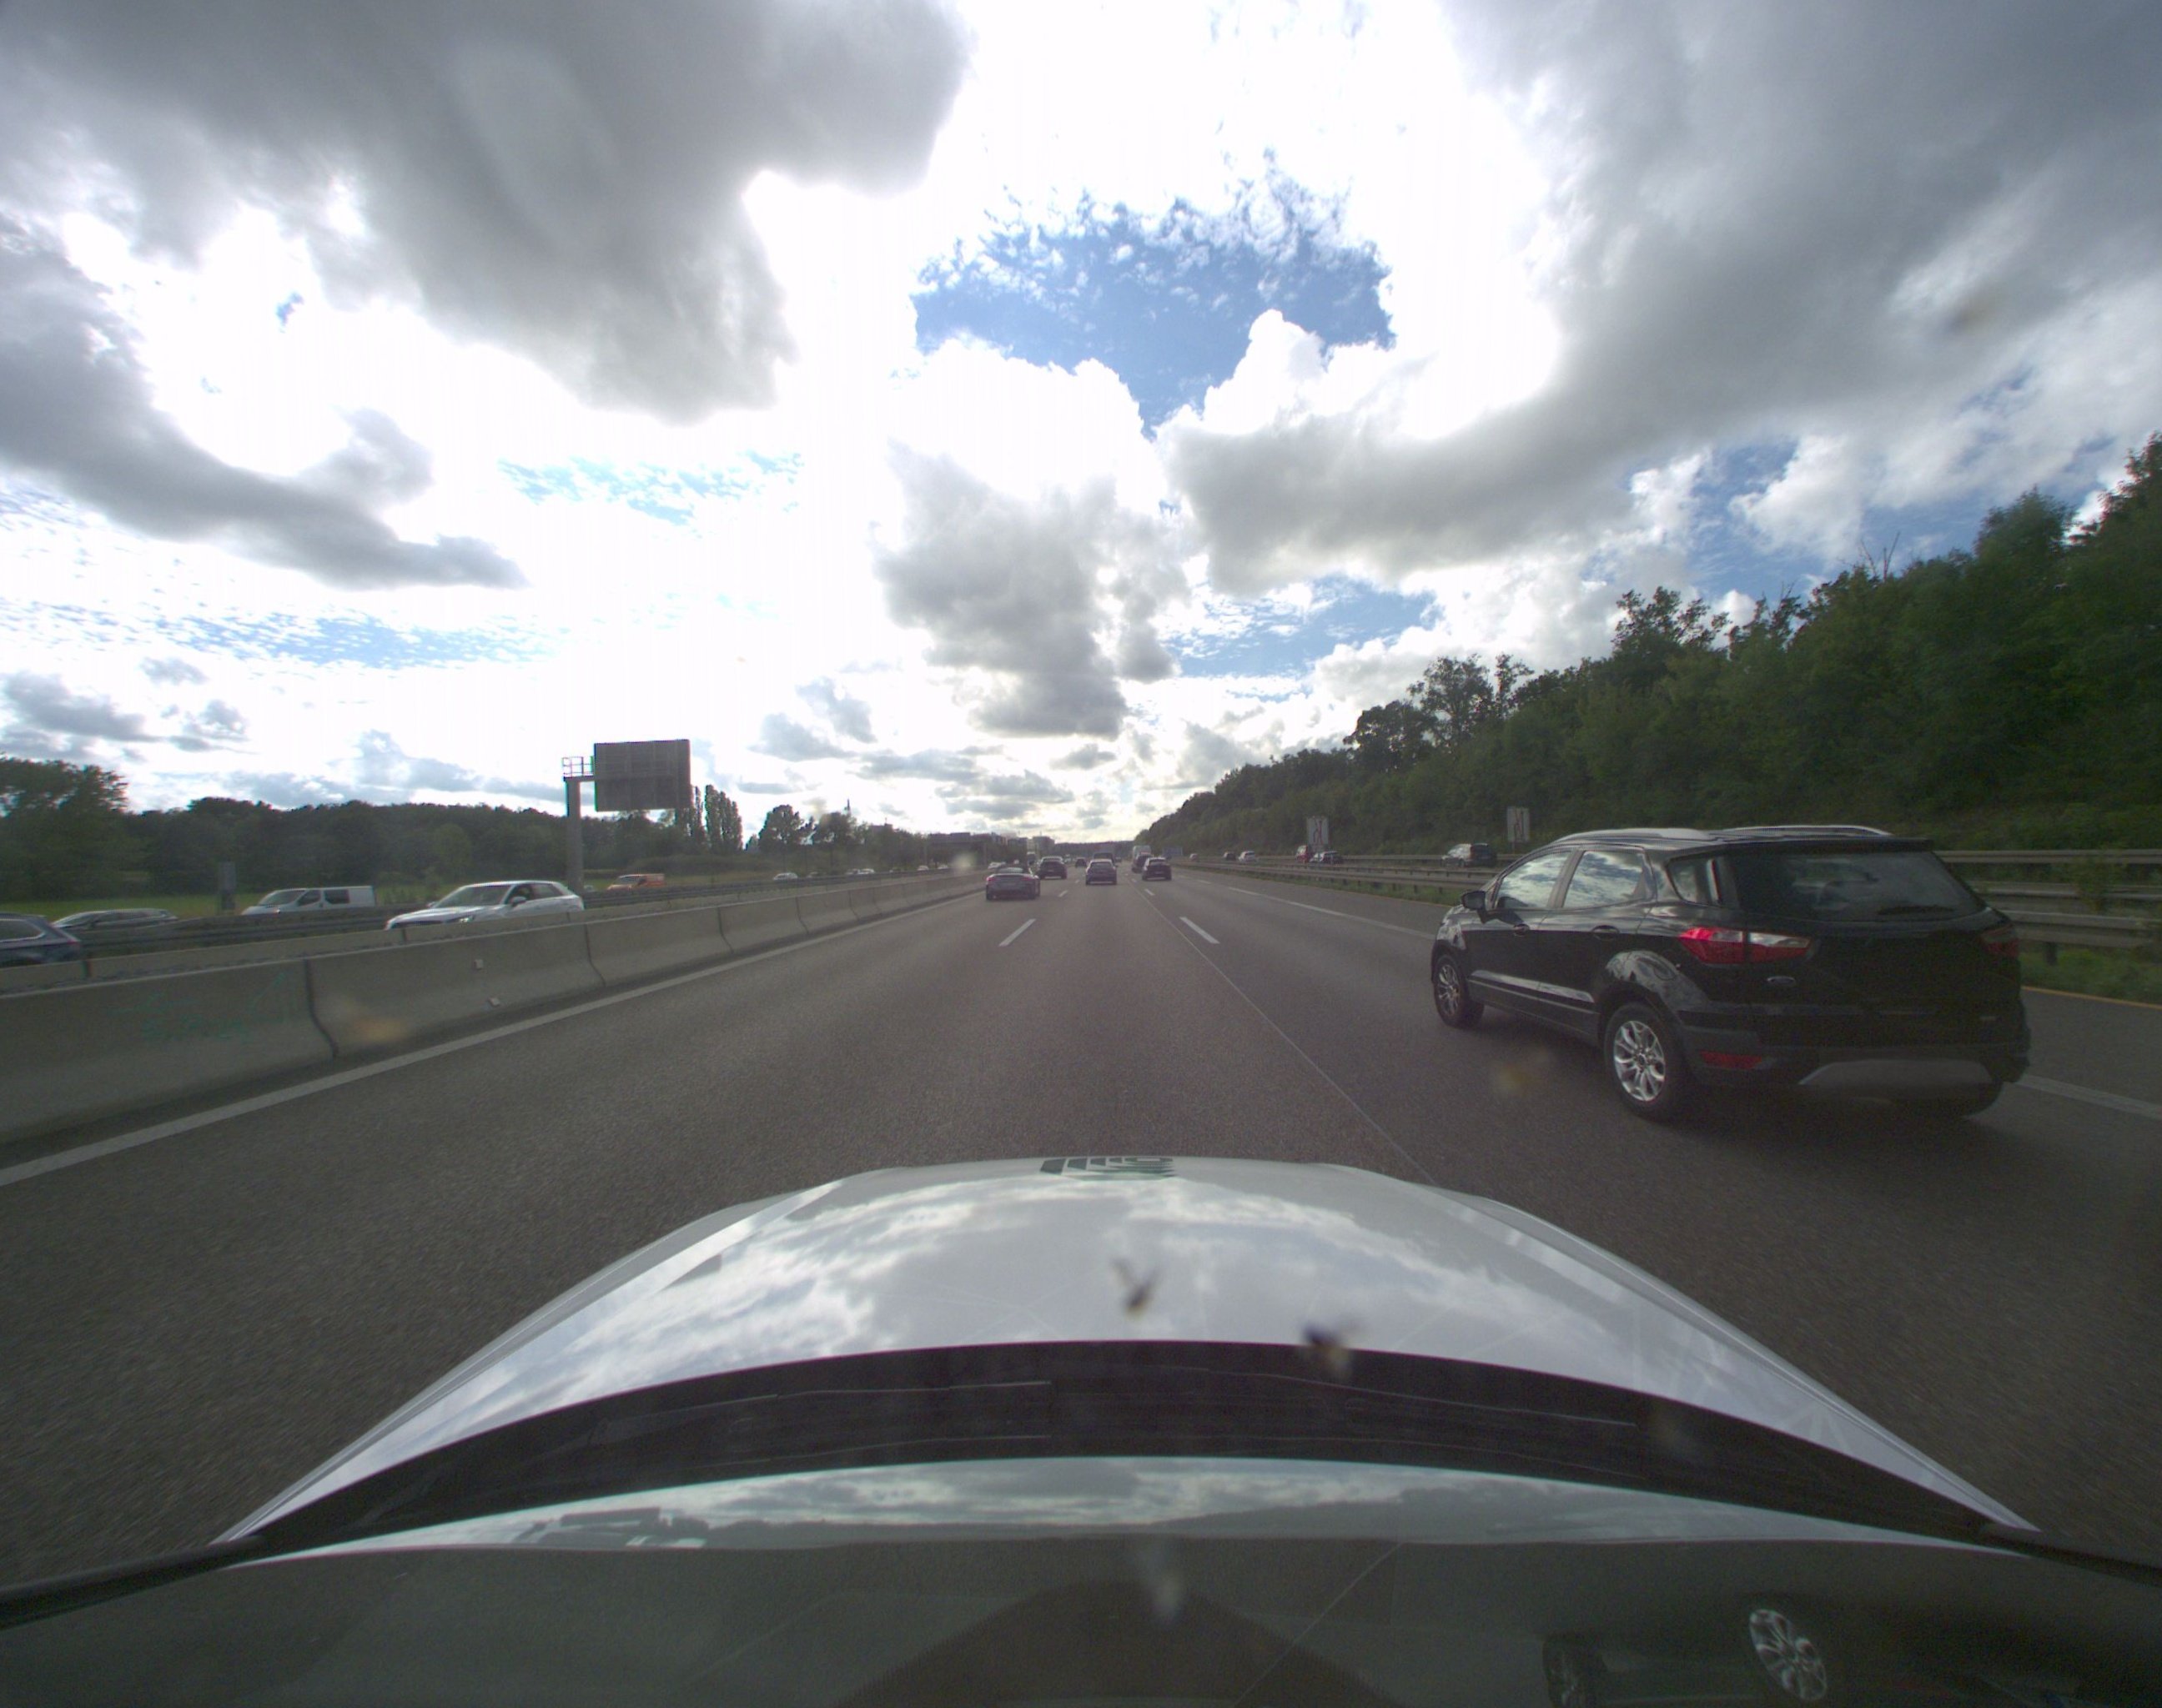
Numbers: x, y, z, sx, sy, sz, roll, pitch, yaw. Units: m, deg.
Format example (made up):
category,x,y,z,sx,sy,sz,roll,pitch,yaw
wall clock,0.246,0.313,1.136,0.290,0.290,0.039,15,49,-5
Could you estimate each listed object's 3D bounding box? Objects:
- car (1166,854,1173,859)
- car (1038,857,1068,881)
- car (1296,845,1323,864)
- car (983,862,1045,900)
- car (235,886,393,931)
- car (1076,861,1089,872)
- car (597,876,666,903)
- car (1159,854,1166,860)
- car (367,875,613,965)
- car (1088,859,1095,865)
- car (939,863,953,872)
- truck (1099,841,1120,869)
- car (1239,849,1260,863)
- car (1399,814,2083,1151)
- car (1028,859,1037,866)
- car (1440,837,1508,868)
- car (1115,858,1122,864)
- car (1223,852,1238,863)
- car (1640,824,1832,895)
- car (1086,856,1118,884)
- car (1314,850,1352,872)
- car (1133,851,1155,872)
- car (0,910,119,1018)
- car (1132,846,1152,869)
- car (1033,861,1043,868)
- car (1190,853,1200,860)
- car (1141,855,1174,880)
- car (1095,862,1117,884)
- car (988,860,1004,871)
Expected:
category,x,y,z,sx,sy,sz,roll,pitch,yaw
car,27.767,0.801,256.159,1.746,1.517,4.190,-2,0,1
car,-2.049,1.073,61.208,1.905,1.636,5.502,-1,0,2
car,23.198,0.072,82.827,1.590,1.804,3.824,-2,0,0
car,-2.566,1.020,32.217,1.866,1.302,4.944,-1,0,2
car,-35.688,2.467,38.176,1.987,1.700,5.634,-2,0,1
car,0.235,1.926,130.509,1.866,1.698,4.073,-2,-1,1
car,-32.013,2.482,58.204,1.986,1.700,5.136,-2,0,1
car,23.795,0.817,238.106,1.722,1.533,4.454,-2,0,1
car,-12.525,1.311,17.732,1.757,1.532,4.719,-2,0,2
car,3.125,2.475,251.358,1.986,1.816,4.568,-2,-1,2
car,-27.928,2.839,168.643,1.986,1.700,5.136,-2,-1,1
truck,4.659,0.224,134.249,3.251,4.375,11.030,-1,0,2
car,20.580,0.267,99.790,1.745,1.695,4.191,-2,0,1
car,3.958,0.621,5.954,1.691,1.564,4.114,-2,0,1
car,-13.604,2.447,227.646,2.299,1.777,5.063,-2,0,0
car,22.046,-0.085,45.855,1.723,1.546,4.305,-4,0,0
car,9.820,1.806,212.518,1.745,1.695,4.191,-2,0,1
car,24.573,0.523,134.169,1.745,1.695,4.191,-2,0,1
car,17.763,0.146,22.416,1.840,1.650,4.307,-4,0,2
car,1.228,0.875,46.780,1.714,1.479,4.393,-1,0,1
car,19.367,0.545,62.763,1.590,1.546,4.190,-2,0,0
car,5.984,0.716,77.766,1.906,1.919,4.031,-1,0,1
car,-15.686,1.574,10.306,1.631,1.403,4.492,-2,0,1
car,6.315,0.367,84.814,1.866,2.357,4.283,-1,0,1
car,-8.790,2.158,167.991,1.660,1.555,4.001,-2,0,2
car,26.331,0.607,187.630,1.746,1.517,4.190,-2,0,1
car,4.944,0.847,52.772,1.825,1.521,4.226,-1,0,1
car,2.020,1.529,66.500,1.714,1.724,4.393,-1,0,1
car,-12.681,1.731,121.722,1.772,1.645,4.073,-2,0,1
